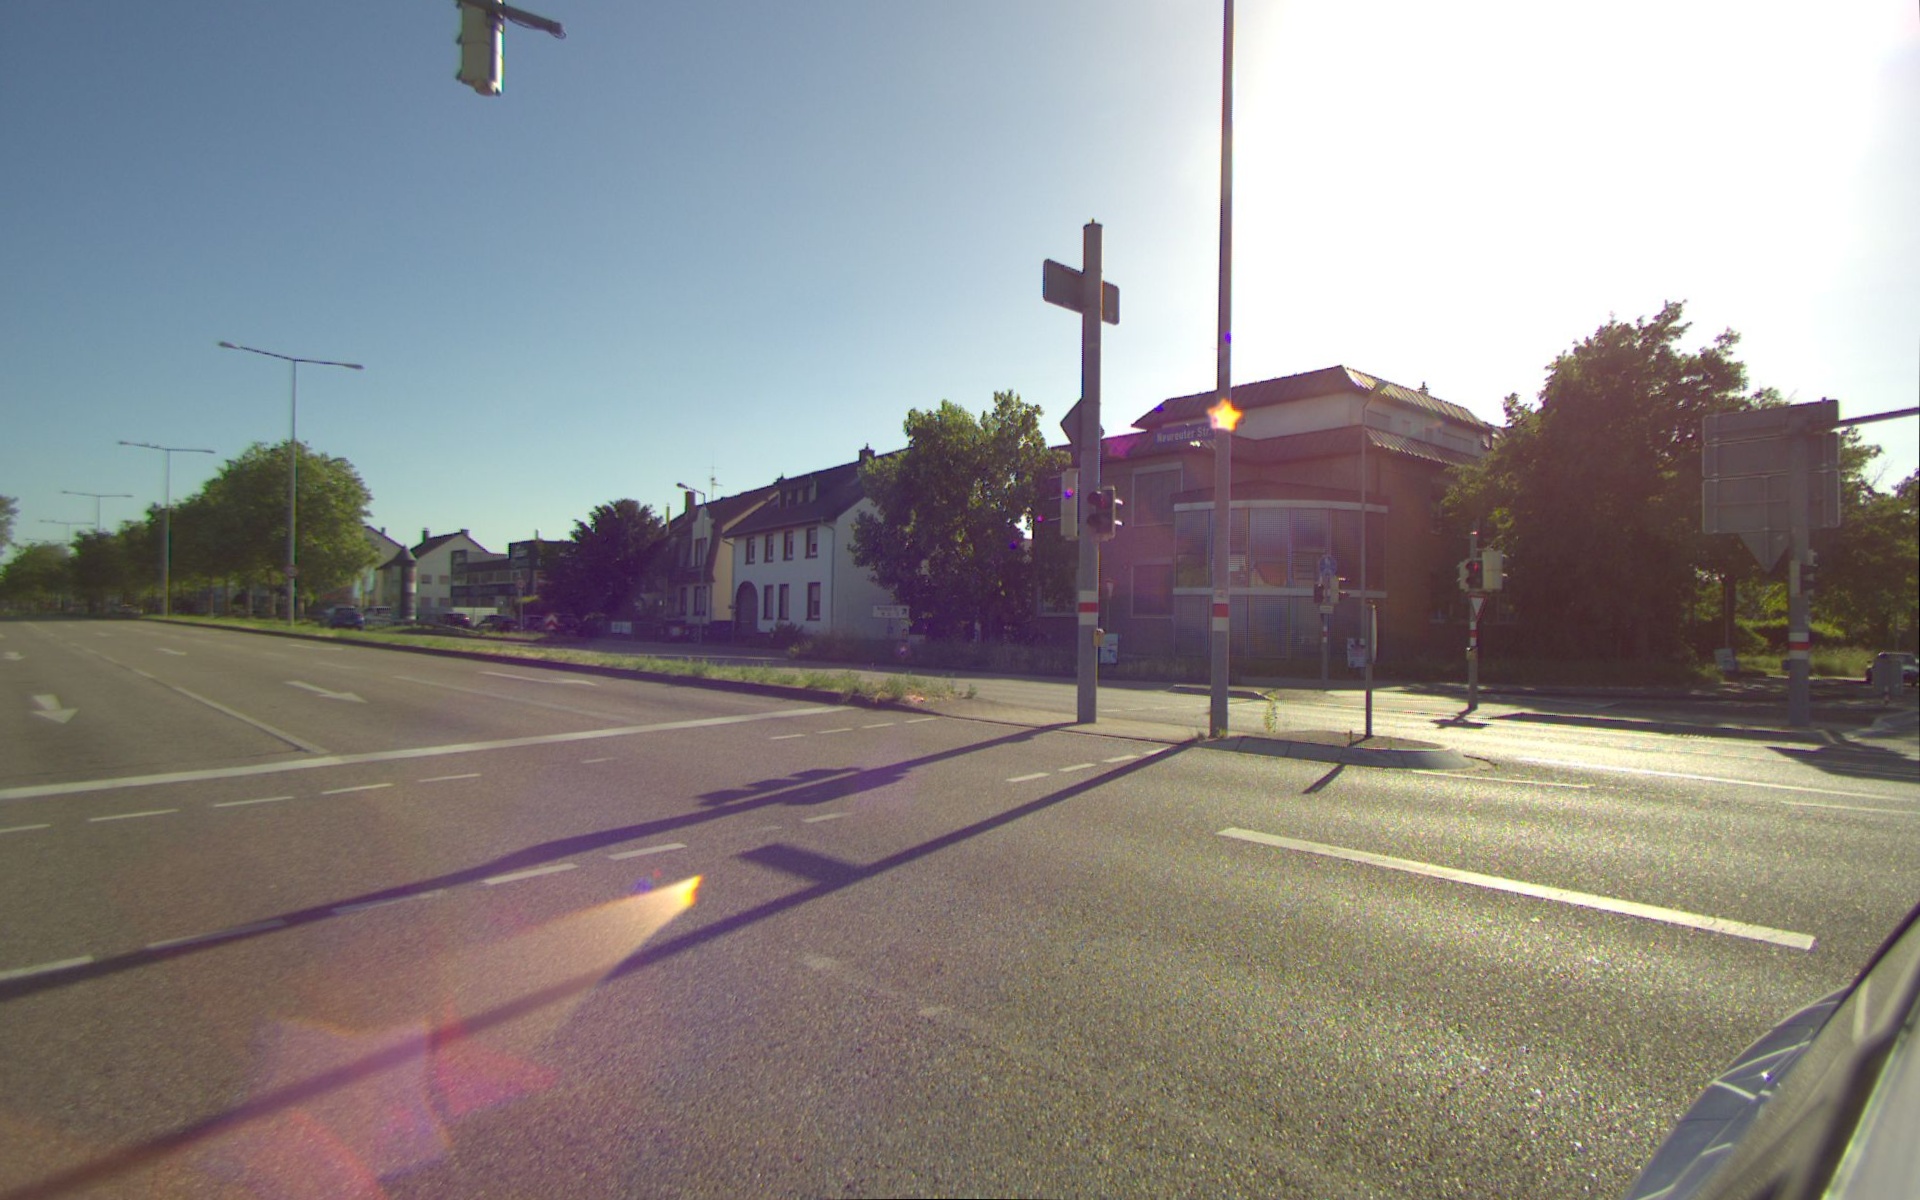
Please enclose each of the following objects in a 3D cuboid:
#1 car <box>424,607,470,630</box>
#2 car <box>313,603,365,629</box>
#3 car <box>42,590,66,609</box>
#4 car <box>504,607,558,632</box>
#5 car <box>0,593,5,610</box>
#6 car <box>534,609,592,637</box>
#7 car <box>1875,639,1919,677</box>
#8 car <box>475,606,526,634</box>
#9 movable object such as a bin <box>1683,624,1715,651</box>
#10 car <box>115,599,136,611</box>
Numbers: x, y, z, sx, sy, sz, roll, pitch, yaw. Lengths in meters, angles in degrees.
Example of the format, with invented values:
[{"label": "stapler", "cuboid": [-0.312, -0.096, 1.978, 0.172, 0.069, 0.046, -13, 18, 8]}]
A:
[{"label": "car", "cuboid": [-39.184, 1.422, 77.288, 1.967, 1.612, 3.988, 3, -4, -44]}, {"label": "car", "cuboid": [-37.821, 0.960, 61.599, 3.780, 1.459, 1.710, 1, -2, 43]}, {"label": "car", "cuboid": [-113.699, -0.108, 127.022, 3.984, 2.322, 1.814, 0, -1, 42]}, {"label": "car", "cuboid": [-28.464, 1.320, 67.127, 1.967, 1.617, 3.988, 3, -4, -44]}, {"label": "car", "cuboid": [-110.346, 0.147, 115.432, 3.984, 1.934, 1.642, 0, -1, 42]}, {"label": "car", "cuboid": [-24.936, 1.409, 63.445, 1.967, 1.639, 3.989, 2, -1, -44]}, {"label": "car", "cuboid": [40.943, 2.464, 43.503, 4.138, 1.505, 1.776, 2, 0, -39]}, {"label": "car", "cuboid": [-31.995, 1.436, 70.373, 1.967, 1.842, 3.988, 3, -4, -44]}, {"label": "movable object such as a bin", "cuboid": [36.597, 1.851, 50.127, 0.782, 1.339, 1.089, 2, -2, -39]}, {"label": "car", "cuboid": [-116.619, 0.744, 141.413, 1.828, 1.612, 3.989, 2, -1, -44]}]
